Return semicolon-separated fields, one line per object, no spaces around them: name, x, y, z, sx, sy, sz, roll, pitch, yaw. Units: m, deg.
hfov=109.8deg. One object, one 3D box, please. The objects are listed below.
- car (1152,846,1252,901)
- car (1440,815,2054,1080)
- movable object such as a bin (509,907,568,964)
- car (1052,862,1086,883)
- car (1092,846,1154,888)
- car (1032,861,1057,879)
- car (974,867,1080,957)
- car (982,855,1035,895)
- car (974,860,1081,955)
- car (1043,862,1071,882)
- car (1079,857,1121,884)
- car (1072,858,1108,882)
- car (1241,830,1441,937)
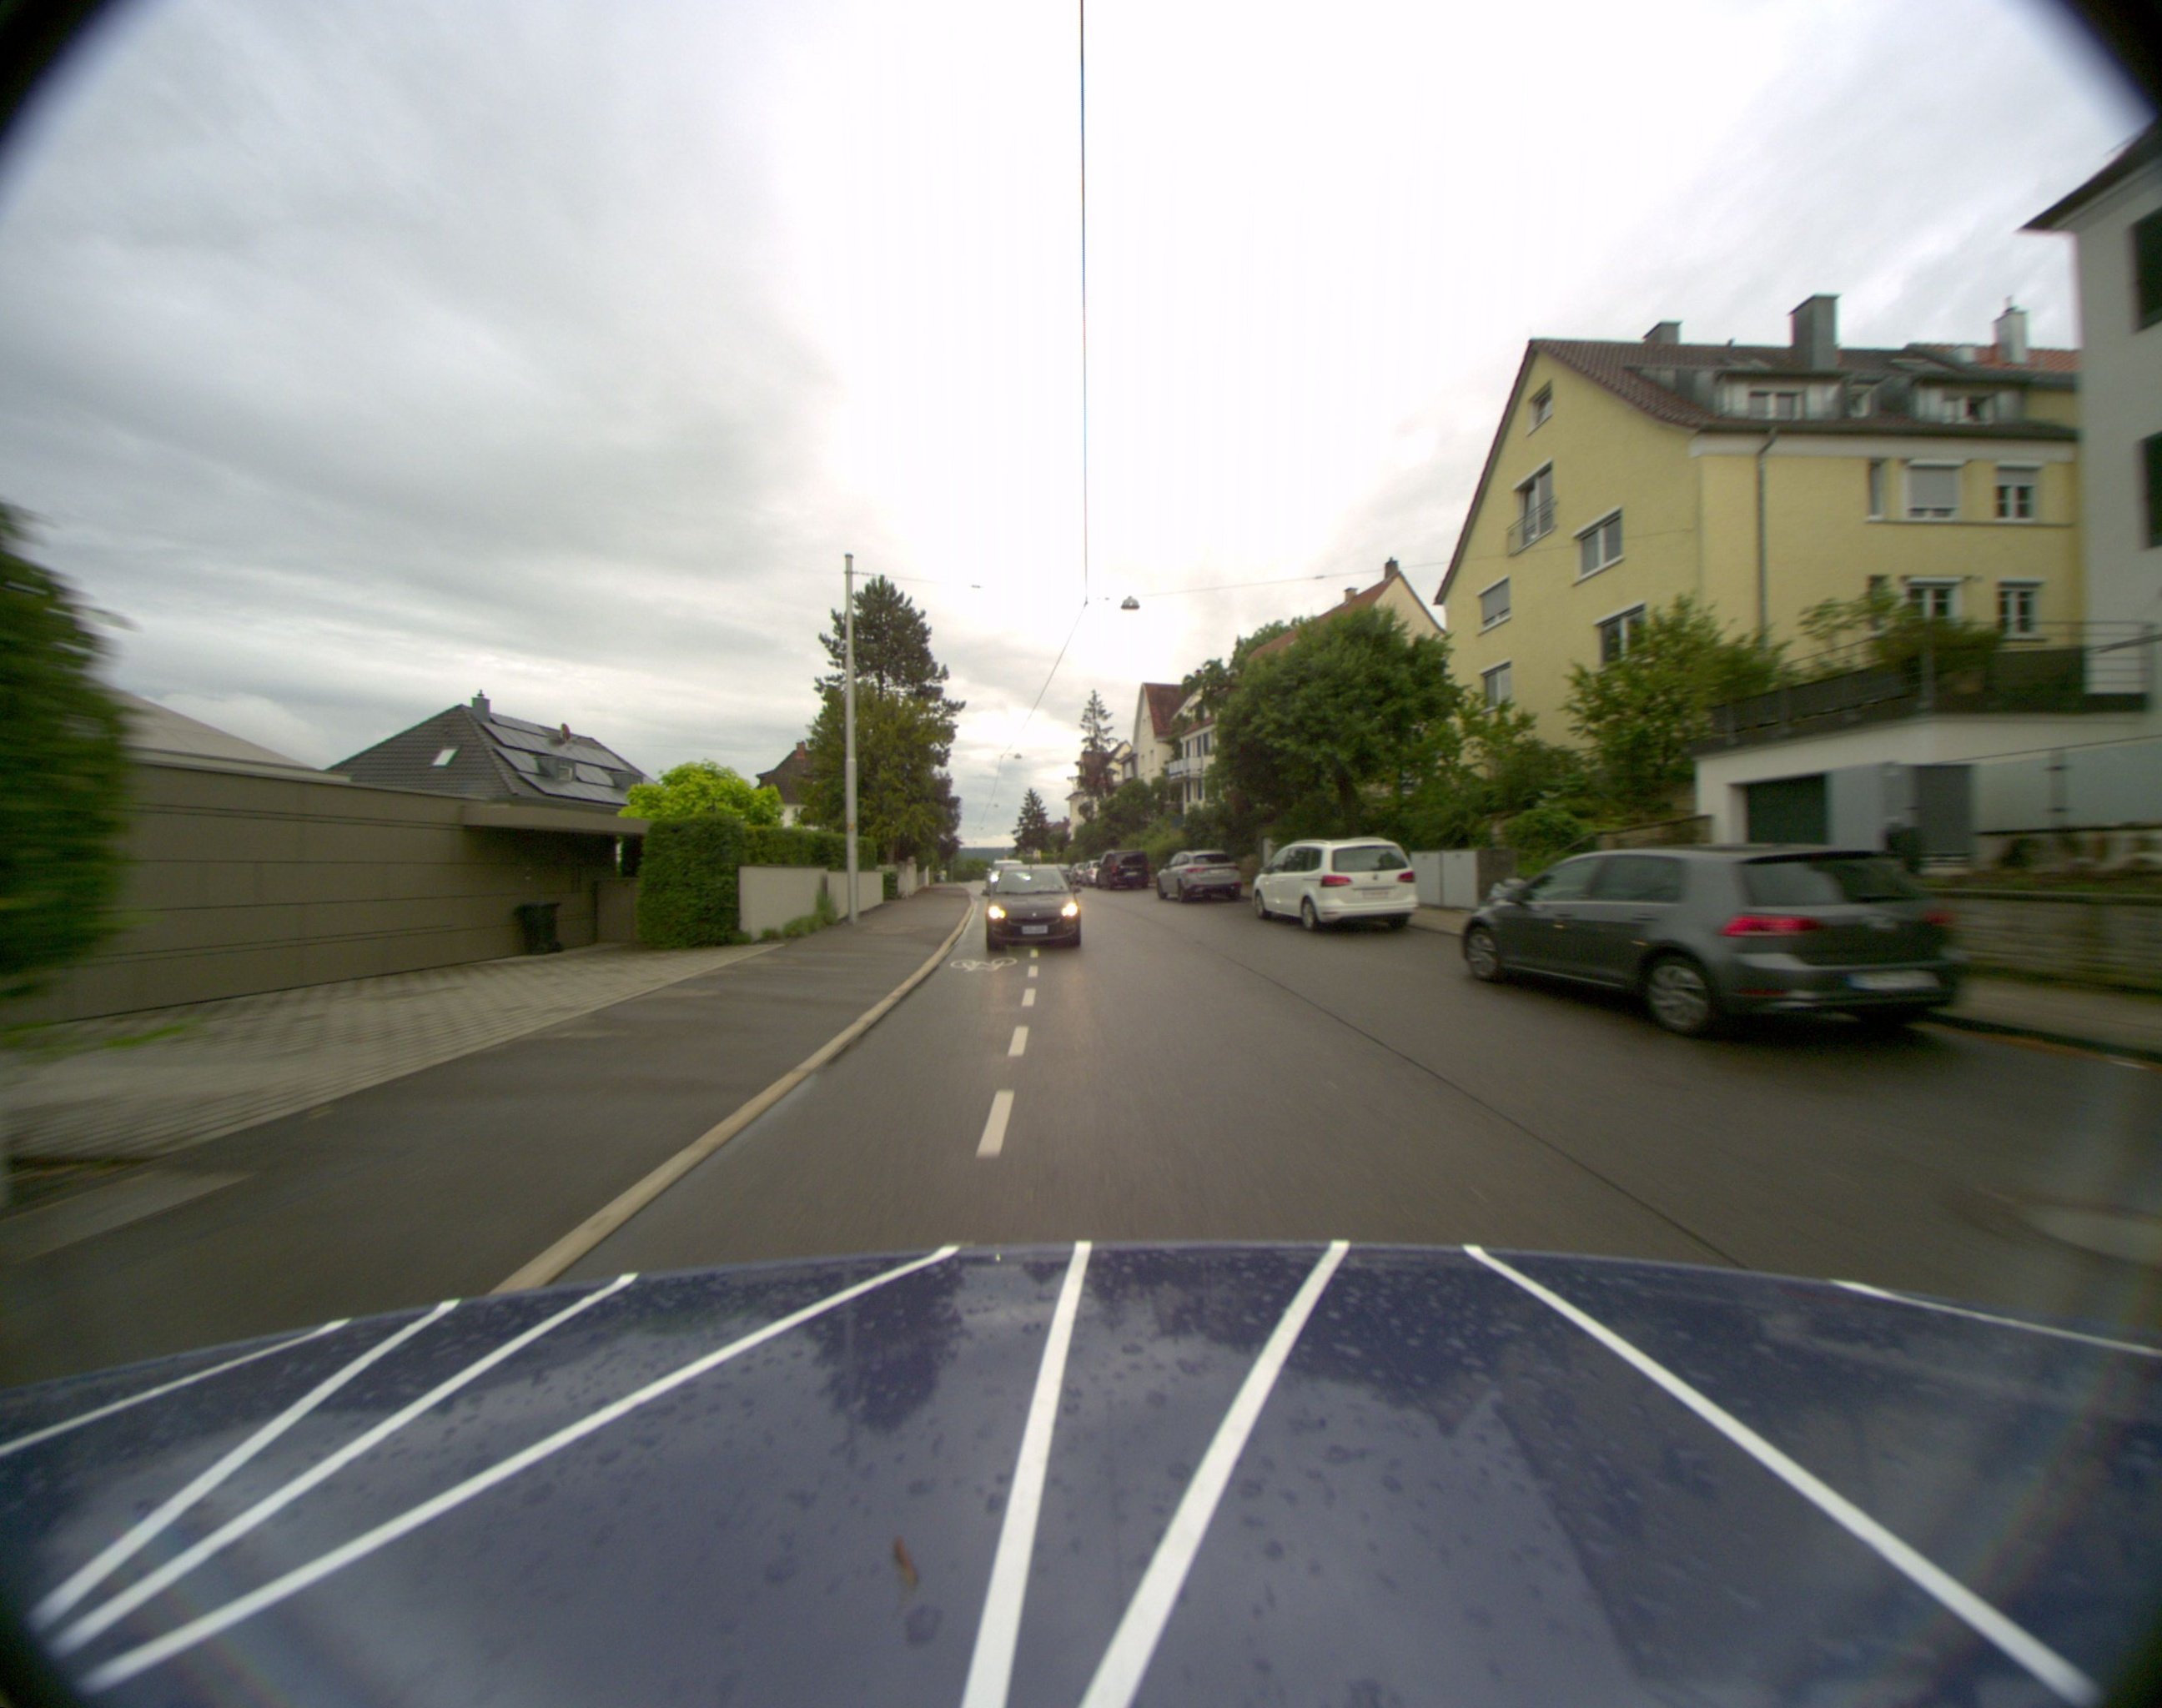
car;3.944;0.635;25.738;2.000;1.571;4.759;-4;0;-7
car;5.279;0.615;6.956;1.797;1.571;4.137;-4;0;-2
movable object such as a bin;-9.452;1.406;13.244;0.575;0.931;0.590;-2;-2;5
car;-0.953;1.398;56.420;1.762;1.438;4.414;-2;-2;-10
car;2.026;0.653;38.473;2.000;1.867;5.353;-3;-1;-9
car;-3.400;1.513;70.739;1.899;1.438;3.812;-2;-2;-9
car;-0.906;1.001;14.626;1.711;1.414;4.000;-2;-1;0
car;-3.486;0.983;35.997;1.868;1.704;3.996;-2;-1;-14
car;-0.898;0.990;14.681;1.696;1.481;3.941;-3;-3;0
car;-2.004;1.450;62.653;1.702;1.532;3.811;-2;-1;-10
car;1.068;0.956;44.525;1.700;1.438;3.811;-2;0;-9
car;0.547;1.054;48.895;1.652;1.438;3.626;-2;-2;-10
car;5.000;0.534;15.489;1.999;1.692;4.737;-4;0;-5
